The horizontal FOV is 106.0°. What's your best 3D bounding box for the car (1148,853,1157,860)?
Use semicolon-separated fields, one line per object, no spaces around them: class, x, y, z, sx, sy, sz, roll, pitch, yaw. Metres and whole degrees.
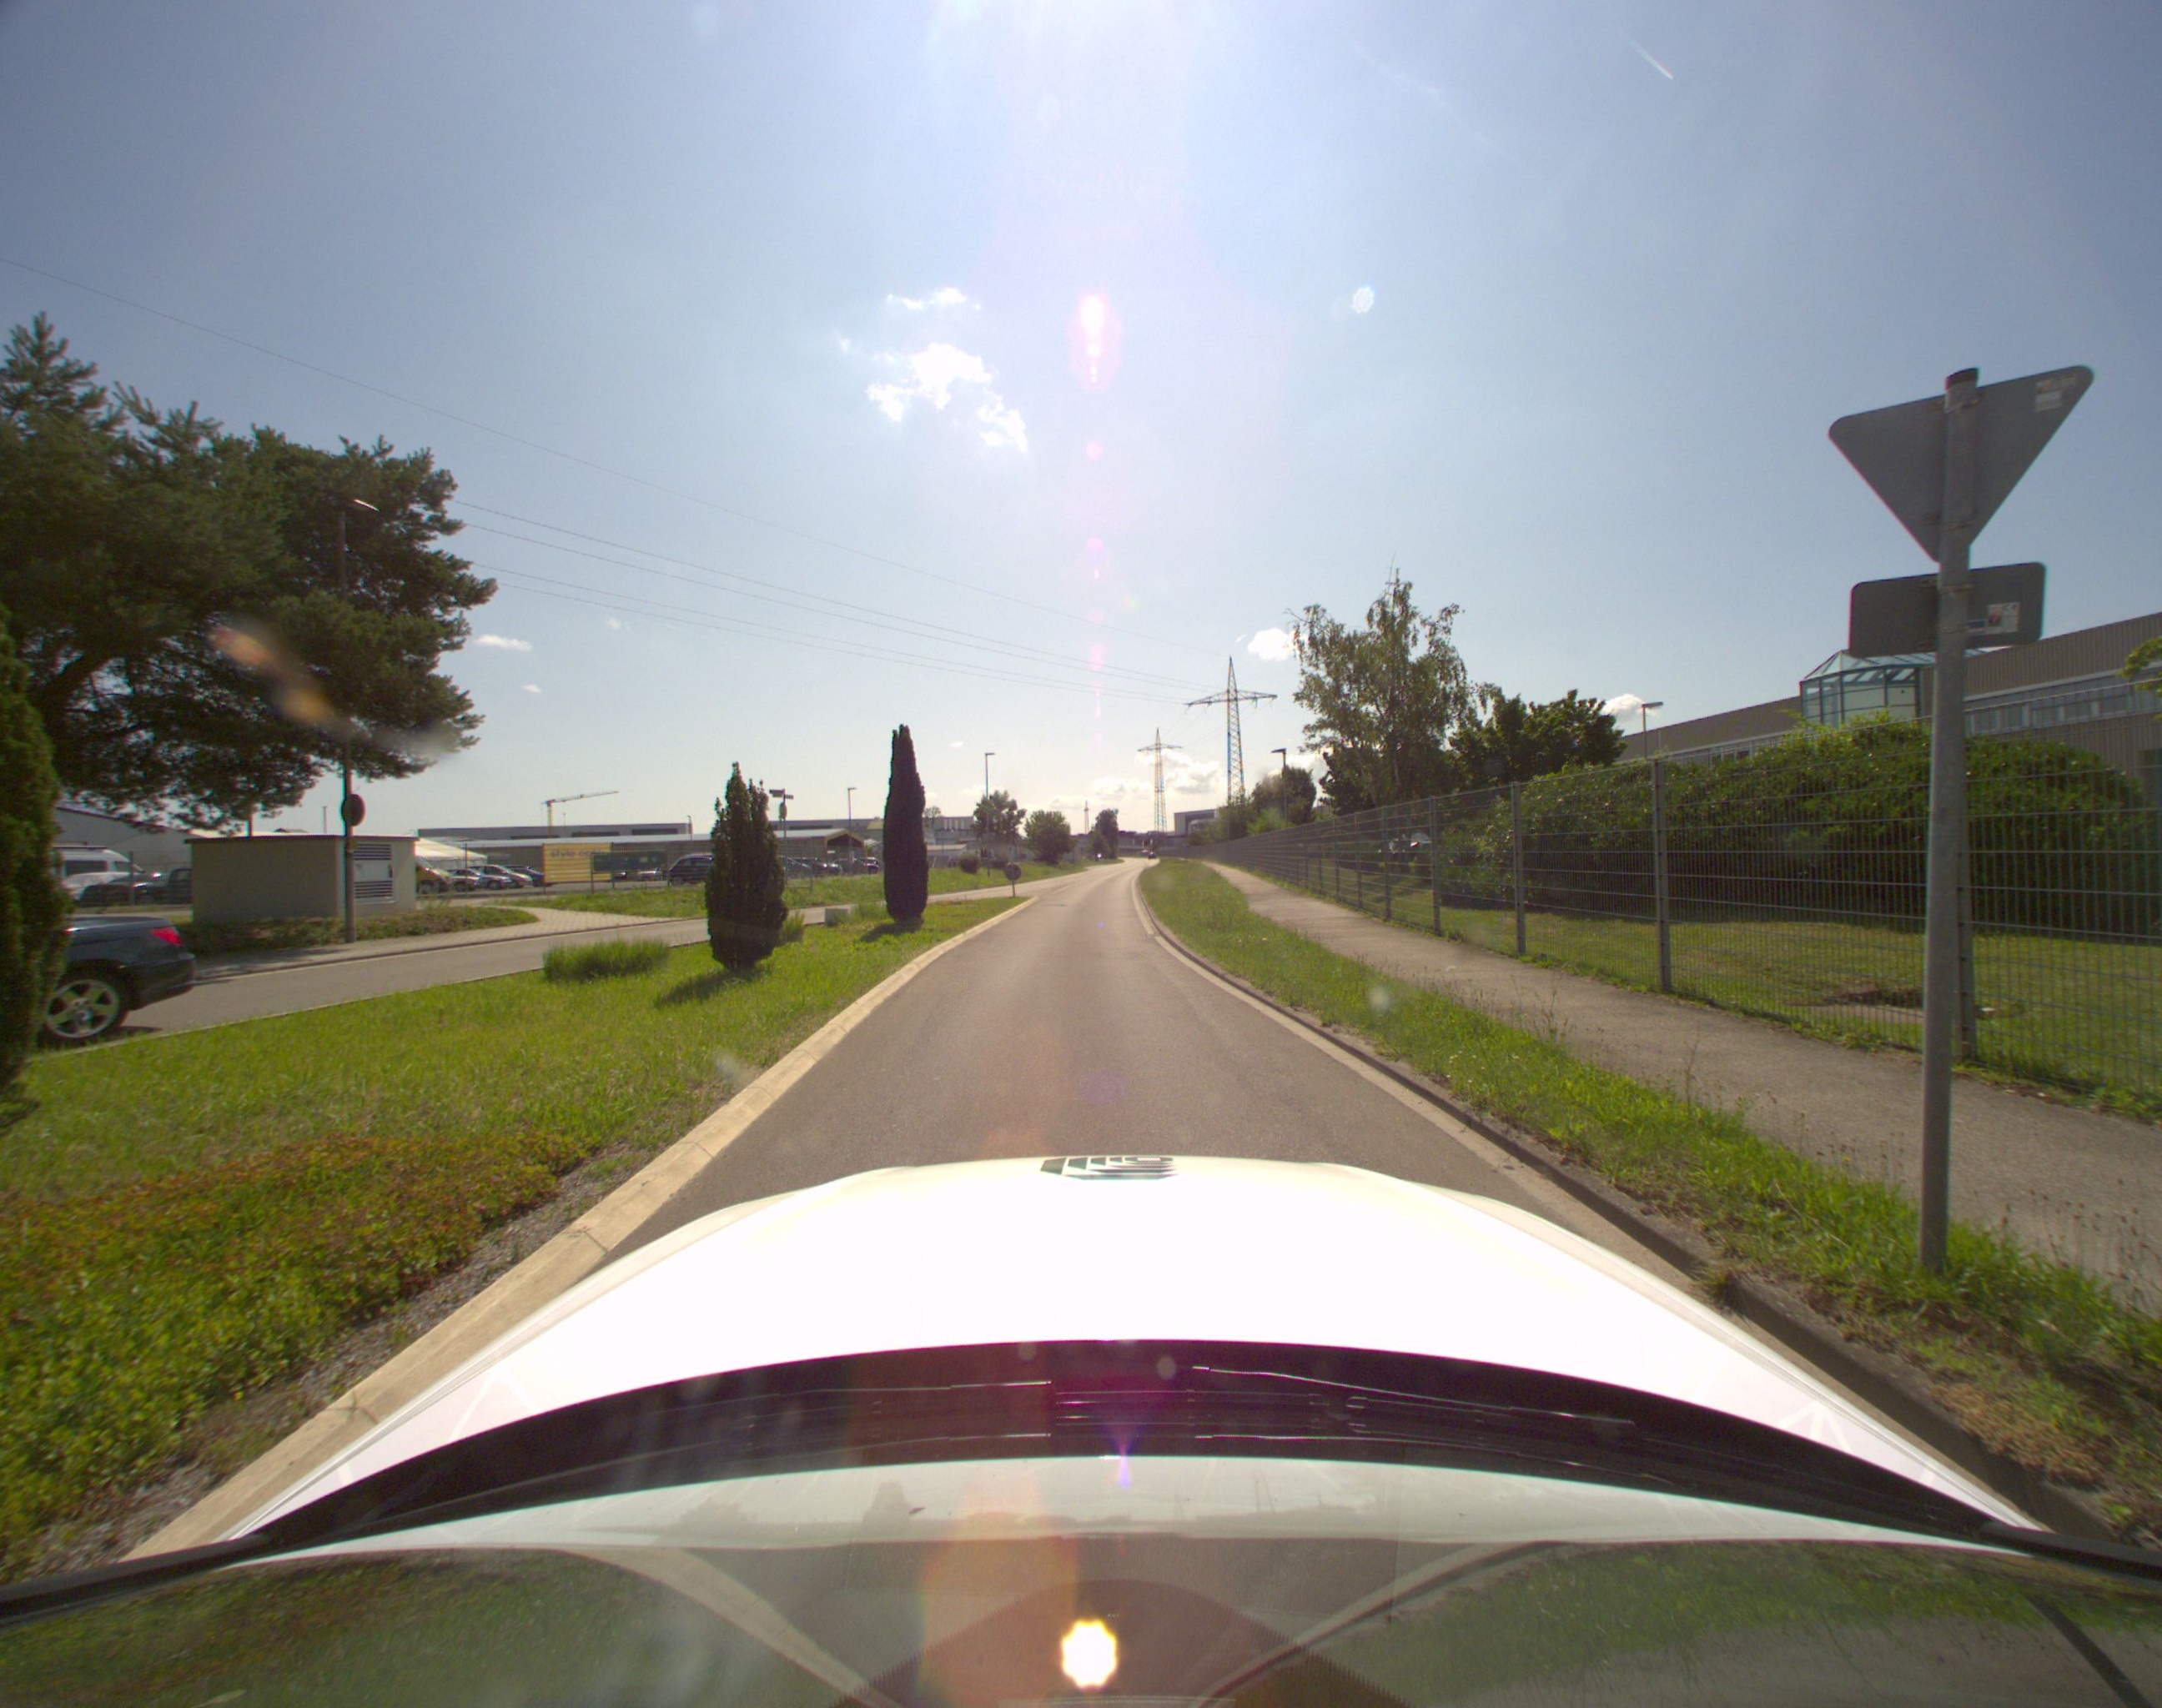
car;16.288;0.462;185.343;2.003;1.508;4.004;-2;0;3

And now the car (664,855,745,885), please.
car;-18.981;0.784;41.172;3.573;1.401;1.788;-1;0;-22

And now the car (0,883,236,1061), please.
car;-9.795;1.018;5.961;1.890;1.394;4.871;-2;0;4

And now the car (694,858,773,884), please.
car;-20.033;0.975;46.959;4.009;1.310;1.925;-2;0;-27

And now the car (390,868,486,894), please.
car;-37.136;1.519;47.186;4.009;1.310;1.926;-1;0;-27

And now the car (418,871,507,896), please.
car;-37.668;1.785;49.720;4.009;1.310;1.926;-1;0;-27

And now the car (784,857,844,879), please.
car;-19.787;1.011;60.336;4.009;1.540;1.926;-1;0;-27

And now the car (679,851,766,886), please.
car;-19.181;0.767;43.608;4.118;1.704;1.708;-2;0;-27

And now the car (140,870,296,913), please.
car;-33.622;1.412;31.905;1.915;1.433;3.995;-2;0;-3

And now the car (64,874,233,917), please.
car;-36.519;1.571;32.062;1.912;1.433;4.002;-2;0;2

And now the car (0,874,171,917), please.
car;-39.056;1.580;32.042;1.912;1.433;4.002;-2;0;2

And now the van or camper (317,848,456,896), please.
van or camper;-37.279;0.930;43.928;5.352;2.375;1.877;-1;-1;-27

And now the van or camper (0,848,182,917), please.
van or camper;-42.036;1.106;33.669;1.986;2.599;6.774;-2;0;2

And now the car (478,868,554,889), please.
car;-38.707;1.645;55.877;4.009;1.310;1.926;-1;0;-27

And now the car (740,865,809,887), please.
car;-20.018;1.419;53.184;4.009;1.310;1.926;-1;0;-27

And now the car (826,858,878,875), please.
car;-19.748;1.072;70.194;4.009;1.310;1.926;-1;0;-27

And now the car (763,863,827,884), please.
car;-19.886;1.320;56.600;4.007;1.310;1.926;-2;-1;-26

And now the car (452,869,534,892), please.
car;-38.051;1.686;52.828;4.009;1.310;1.926;-1;0;-27
